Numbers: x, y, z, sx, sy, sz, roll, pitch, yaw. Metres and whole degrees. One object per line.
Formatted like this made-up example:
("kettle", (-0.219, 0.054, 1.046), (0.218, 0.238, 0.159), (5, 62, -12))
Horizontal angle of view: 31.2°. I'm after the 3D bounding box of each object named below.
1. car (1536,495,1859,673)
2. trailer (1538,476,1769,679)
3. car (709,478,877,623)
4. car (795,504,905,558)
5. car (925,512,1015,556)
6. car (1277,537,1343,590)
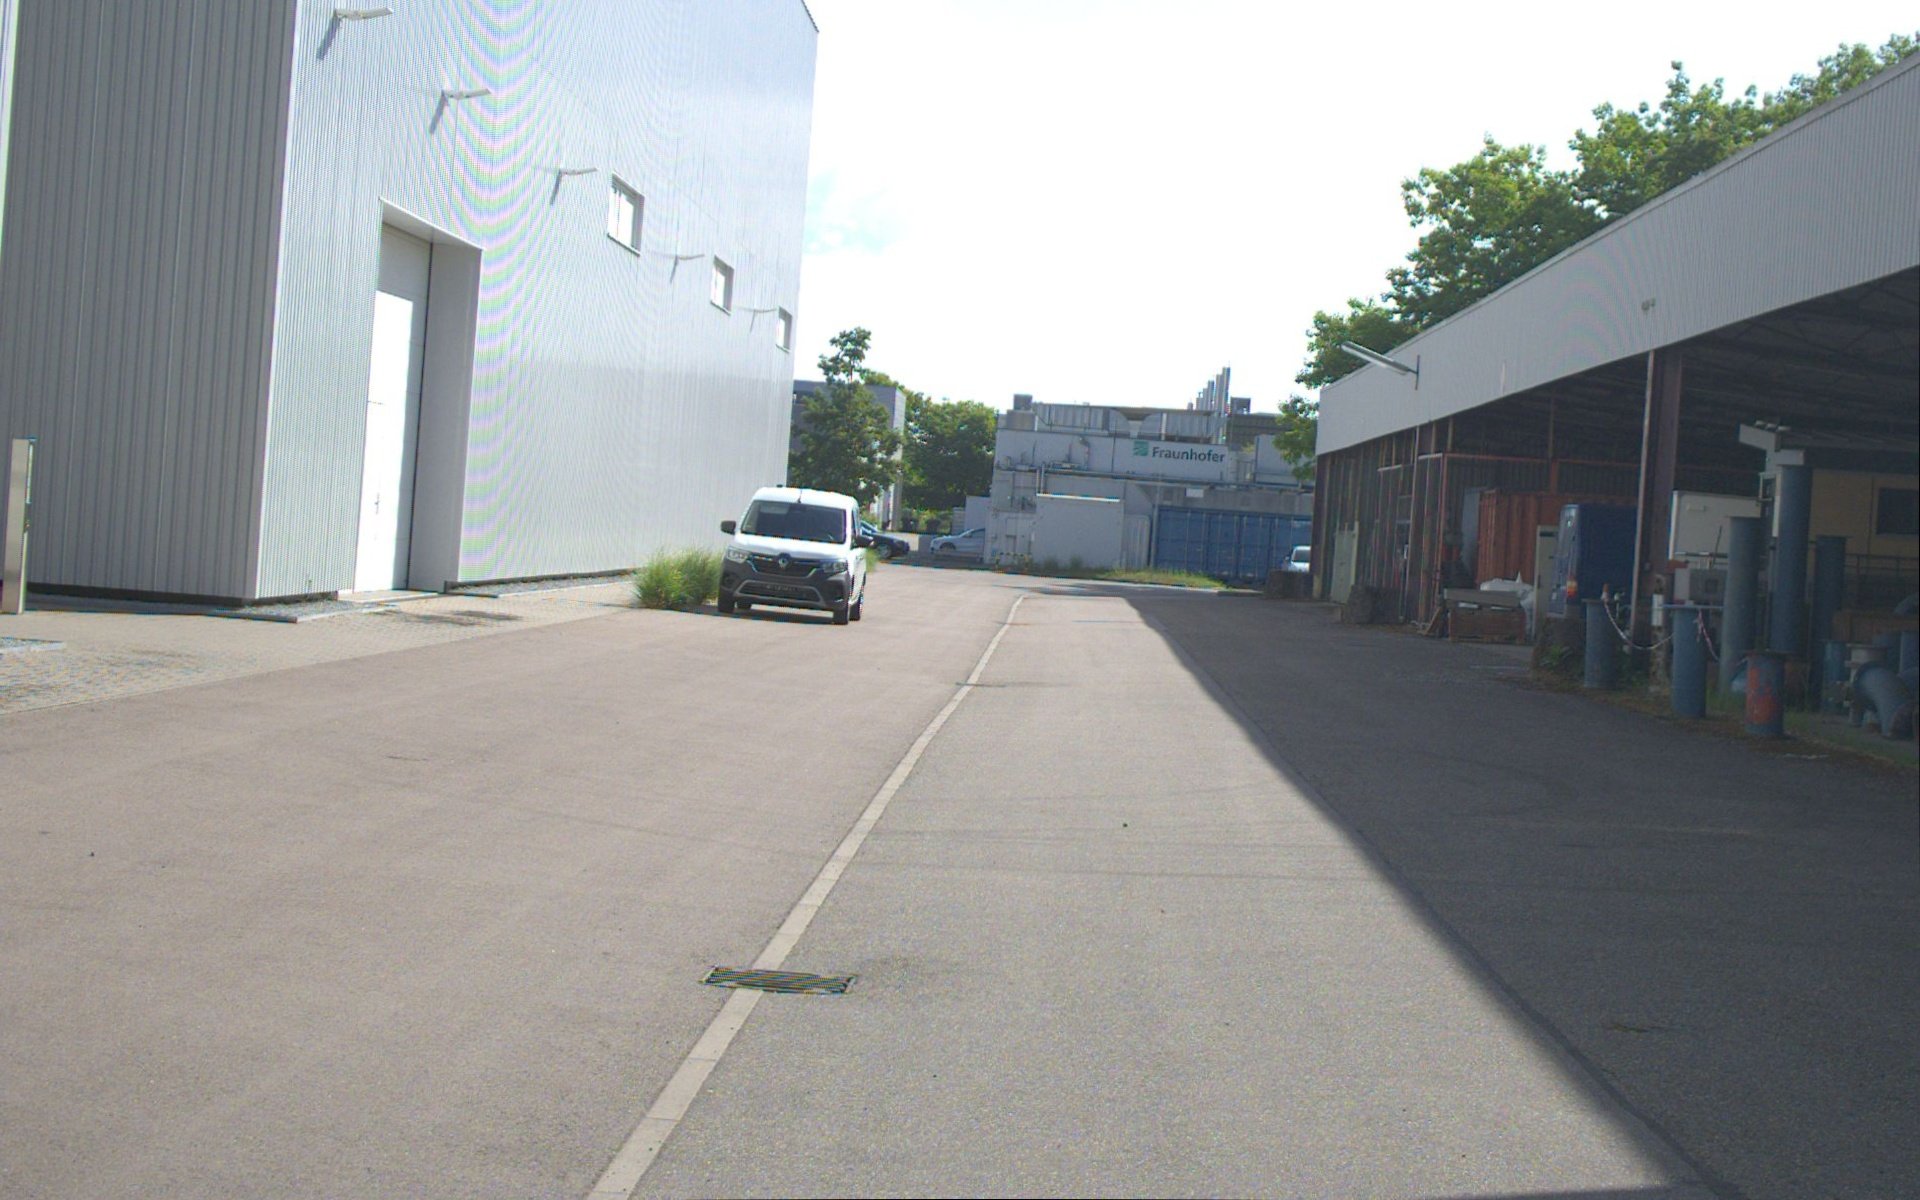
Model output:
("car", (11.314, -0.232, 52.962), (4.433, 2.301, 1.915), (5, -1, 3))
("trailer", (8.892, -0.293, 44.259), (2.524, 2.390, 1.726), (4, 0, 3))
("car", (-2.282, -0.720, 48.141), (1.819, 1.781, 4.405), (5, 2, 2))
("car", (-4.170, -2.614, 130.471), (3.987, 1.592, 1.741), (5, -1, 1))
("car", (0.472, -3.029, 158.192), (3.987, 1.592, 1.848), (5, -1, 1))
("car", (11.923, -1.266, 117.452), (1.962, 1.559, 4.058), (5, 2, 4))
